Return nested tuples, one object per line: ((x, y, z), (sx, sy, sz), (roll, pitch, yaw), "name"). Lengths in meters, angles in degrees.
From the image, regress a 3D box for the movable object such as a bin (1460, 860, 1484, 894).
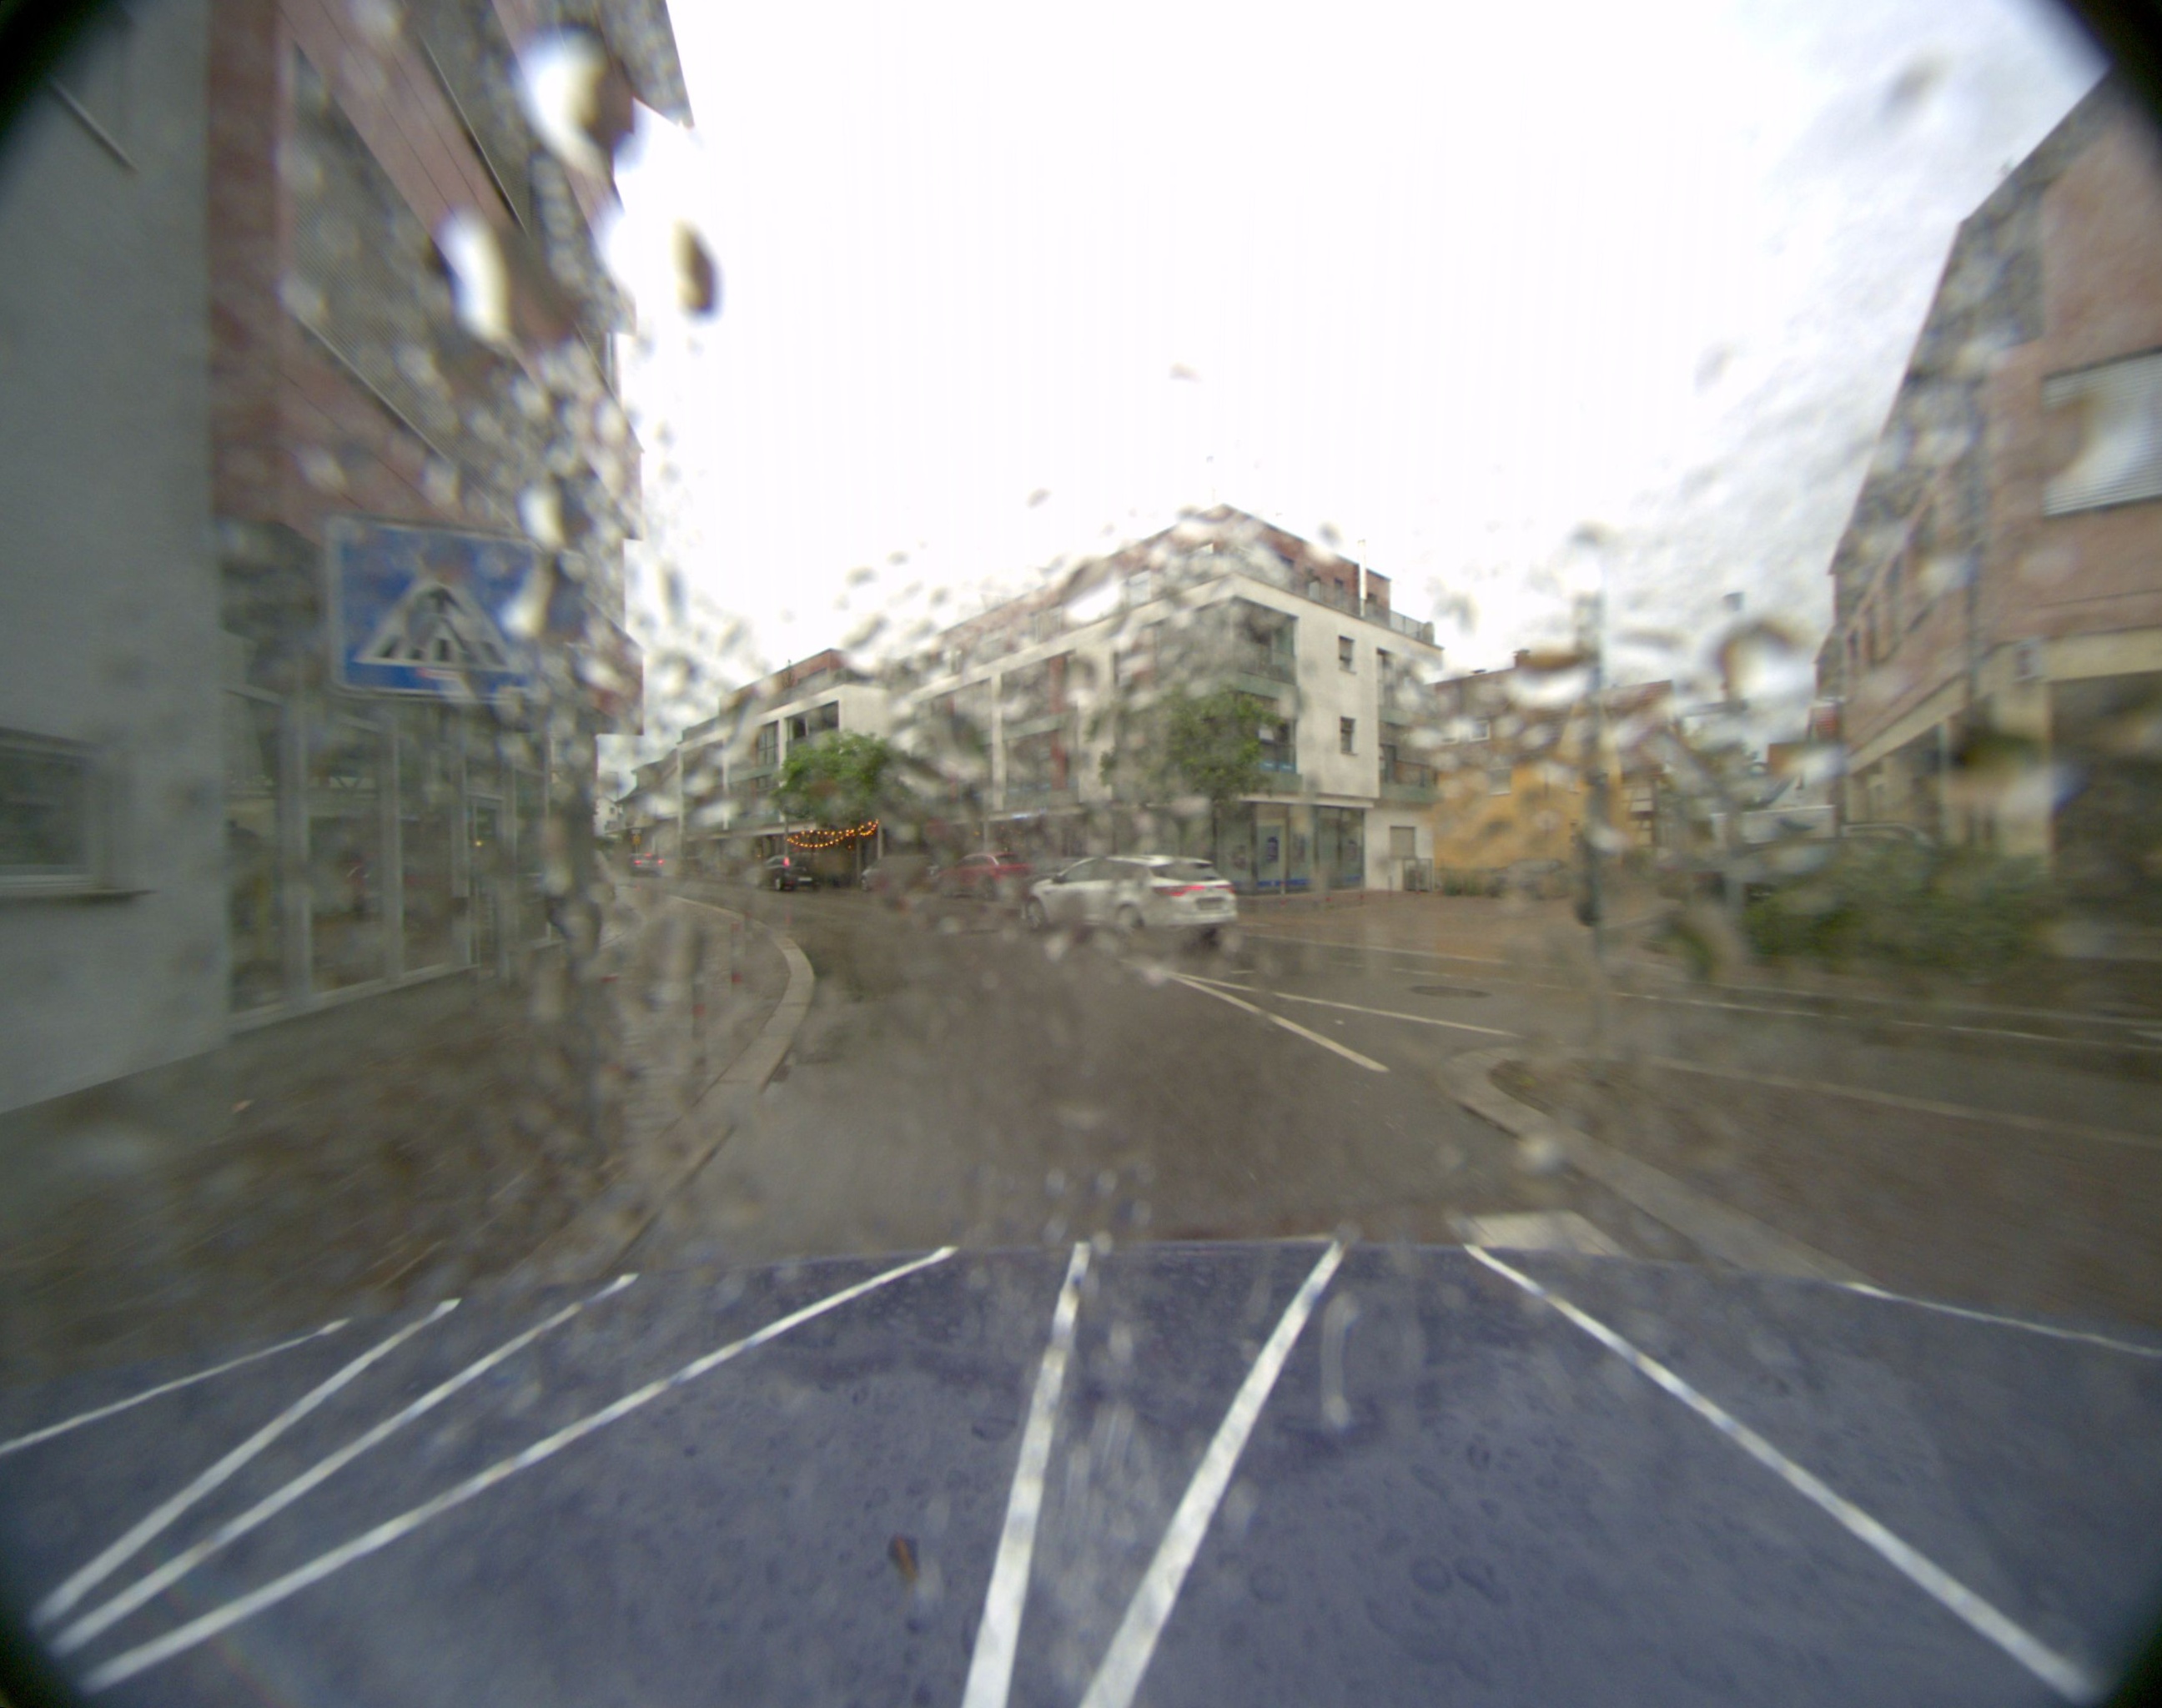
((14.767, 0.863, 28.716), (0.524, 1.226, 0.630), (-3, 2, -38), "movable object such as a bin")

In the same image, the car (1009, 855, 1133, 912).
((-0.362, 0.782, 21.739), (1.683, 1.427, 3.576), (-3, 2, -38), "car")

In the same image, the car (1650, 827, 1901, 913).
((15.657, 0.432, 17.400), (3.990, 1.661, 1.840), (-5, -4, 42), "car")

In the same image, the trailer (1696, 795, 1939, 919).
((13.930, 0.135, 14.608), (3.085, 2.074, 1.840), (-5, -3, 42), "trailer")

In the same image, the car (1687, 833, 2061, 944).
((12.511, 0.479, 12.400), (3.988, 1.499, 1.839), (-1, 2, 42), "car")

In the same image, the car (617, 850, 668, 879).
((-27.285, 0.605, 47.237), (3.721, 1.405, 1.782), (6, 6, 44), "car")

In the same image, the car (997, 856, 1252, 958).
((0.560, 0.801, 13.699), (1.928, 1.482, 4.850), (-1, 0, -36), "car")

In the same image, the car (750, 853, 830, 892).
((-12.094, 0.728, 31.412), (1.789, 1.457, 4.502), (-1, 0, -39), "car")

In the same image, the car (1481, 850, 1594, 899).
((16.874, 0.685, 28.029), (4.552, 1.499, 1.995), (-3, 2, -37), "car")

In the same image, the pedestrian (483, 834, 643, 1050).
((-4.721, 0.731, 7.034), (0.823, 1.796, 1.145), (-3, 2, -16), "pedestrian")

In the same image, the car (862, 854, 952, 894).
((-6.837, 0.751, 29.641), (1.730, 1.386, 3.851), (-3, 2, -42), "car")

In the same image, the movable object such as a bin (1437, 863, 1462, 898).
((13.434, 0.944, 27.710), (0.524, 1.226, 0.630), (-3, 2, -38), "movable object such as a bin")

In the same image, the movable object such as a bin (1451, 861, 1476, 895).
((14.281, 0.900, 28.371), (0.524, 1.226, 0.630), (-3, 2, -38), "movable object such as a bin")

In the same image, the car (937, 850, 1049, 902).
((-3.027, 0.687, 25.447), (1.807, 1.546, 3.910), (-3, 2, -40), "car")
